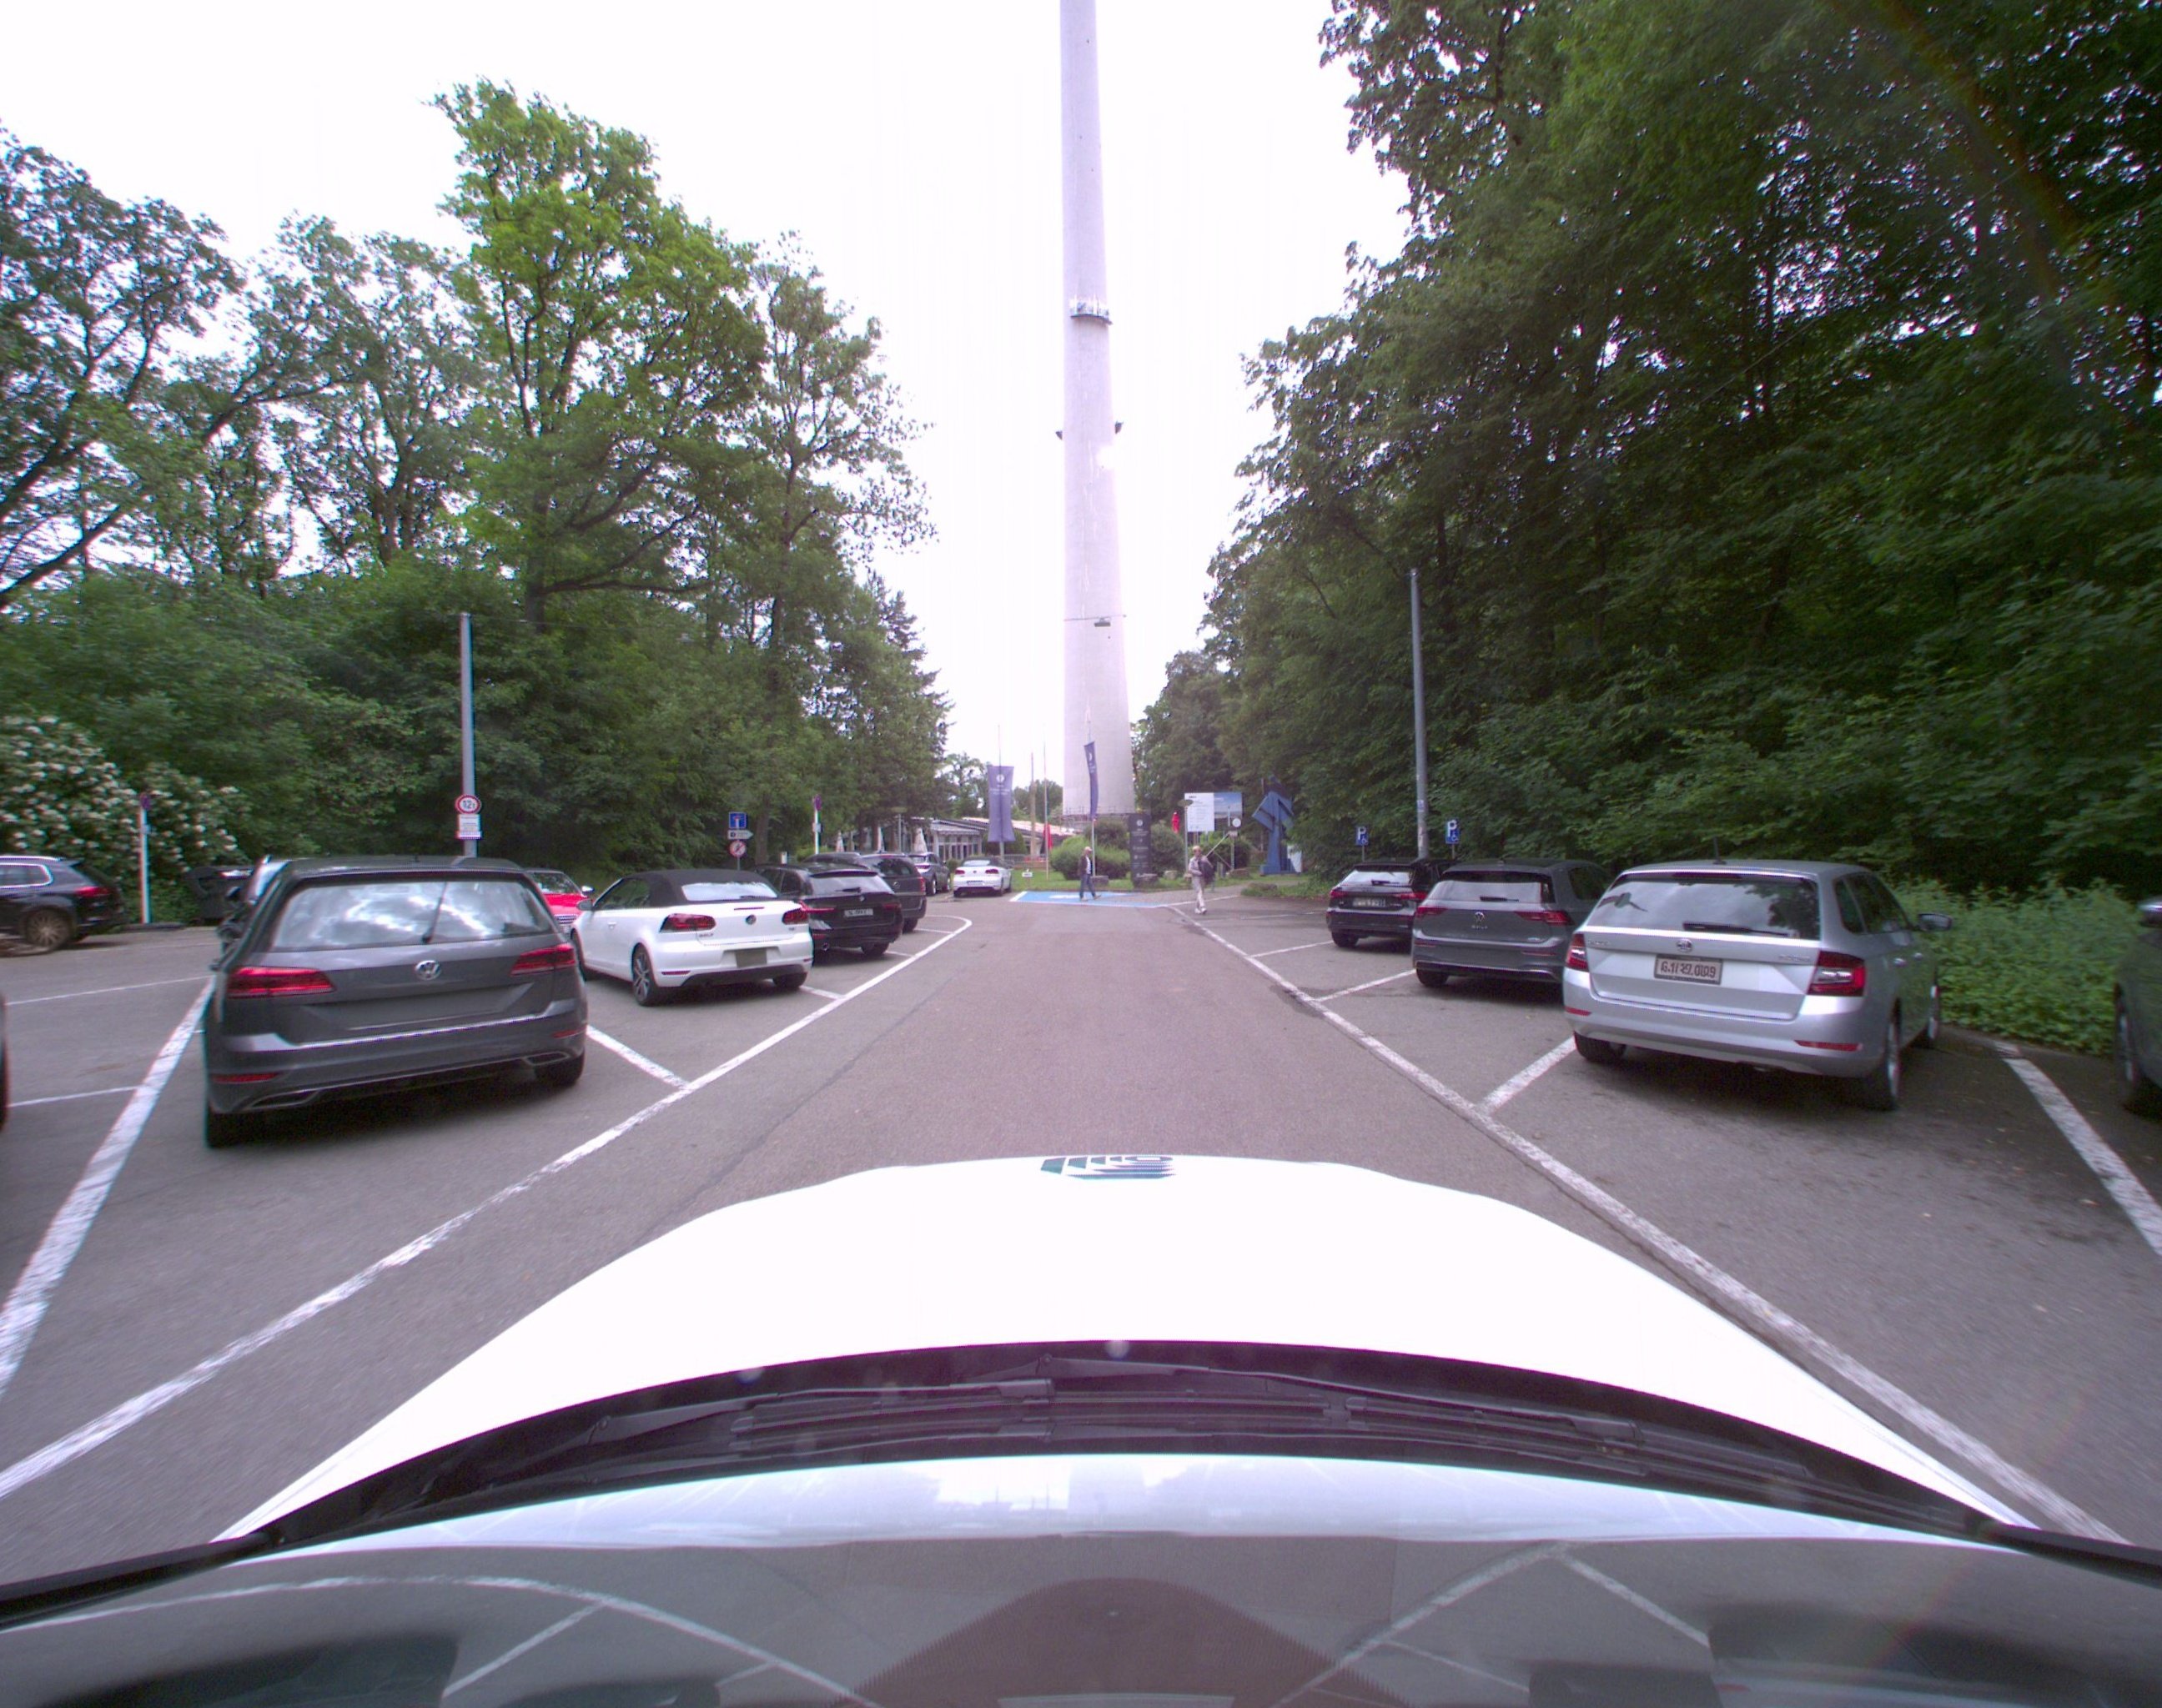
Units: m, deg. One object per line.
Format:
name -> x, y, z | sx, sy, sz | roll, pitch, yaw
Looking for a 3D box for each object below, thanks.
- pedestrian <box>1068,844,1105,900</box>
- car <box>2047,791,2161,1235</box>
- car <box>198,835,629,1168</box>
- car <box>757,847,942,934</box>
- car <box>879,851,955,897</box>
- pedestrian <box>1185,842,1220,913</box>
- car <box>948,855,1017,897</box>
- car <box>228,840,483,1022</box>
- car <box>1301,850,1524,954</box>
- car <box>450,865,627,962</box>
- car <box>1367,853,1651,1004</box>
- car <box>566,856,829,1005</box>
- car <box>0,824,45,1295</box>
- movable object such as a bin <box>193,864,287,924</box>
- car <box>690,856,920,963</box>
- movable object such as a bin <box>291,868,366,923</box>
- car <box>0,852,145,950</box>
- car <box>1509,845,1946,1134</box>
pedestrian -> 0.166, 0.567, 25.792 | 0.885, 1.725, 0.769 | -1, -1, 37
car -> 5.646, 0.577, 3.278 | 4.287, 1.636, 1.941 | 0, -1, -44
car -> -4.924, 0.711, 5.937 | 1.858, 1.587, 3.928 | -1, 0, -45
car -> -4.981, 0.699, 17.145 | 4.333, 1.609, 1.840 | -1, -1, 44
car -> -6.099, 0.720, 30.760 | 1.885, 1.585, 4.002 | -1, 0, 2
pedestrian -> 3.019, 0.584, 20.325 | 0.759, 1.725, 0.897 | -1, -1, 2
car -> -3.550, 0.779, 30.041 | 1.886, 1.428, 4.002 | -1, 0, 2
car -> -8.572, 0.729, 9.512 | 3.950, 1.663, 1.910 | -1, -1, 44
car -> 5.651, 0.686, 13.611 | 4.228, 1.462, 1.876 | 0, -1, -44
car -> -9.471, 0.911, 14.063 | 1.779, 1.394, 4.337 | 0, -1, -44
car -> 5.274, 0.712, 9.792 | 4.023, 1.422, 1.886 | 0, -1, -45
car -> -4.787, 0.766, 9.902 | 1.783, 1.443, 3.799 | 0, -1, -44
car -> -5.678, 0.709, 3.225 | 3.948, 1.554, 1.885 | -1, 0, 39
movable object such as a bin -> -20.541, 0.961, 19.928 | 1.118, 1.425, 1.132 | -1, -1, 4
car -> -4.553, 0.774, 13.080 | 4.225, 1.443, 1.770 | -1, -1, 44
movable object such as a bin -> -19.057, 1.026, 20.658 | 1.130, 1.315, 1.173 | 0, -1, -29
car -> -19.634, 0.828, 14.245 | 4.094, 1.685, 1.762 | 0, -1, -43
car -> 5.055, 0.686, 6.165 | 4.020, 1.467, 1.814 | -1, 0, -40
